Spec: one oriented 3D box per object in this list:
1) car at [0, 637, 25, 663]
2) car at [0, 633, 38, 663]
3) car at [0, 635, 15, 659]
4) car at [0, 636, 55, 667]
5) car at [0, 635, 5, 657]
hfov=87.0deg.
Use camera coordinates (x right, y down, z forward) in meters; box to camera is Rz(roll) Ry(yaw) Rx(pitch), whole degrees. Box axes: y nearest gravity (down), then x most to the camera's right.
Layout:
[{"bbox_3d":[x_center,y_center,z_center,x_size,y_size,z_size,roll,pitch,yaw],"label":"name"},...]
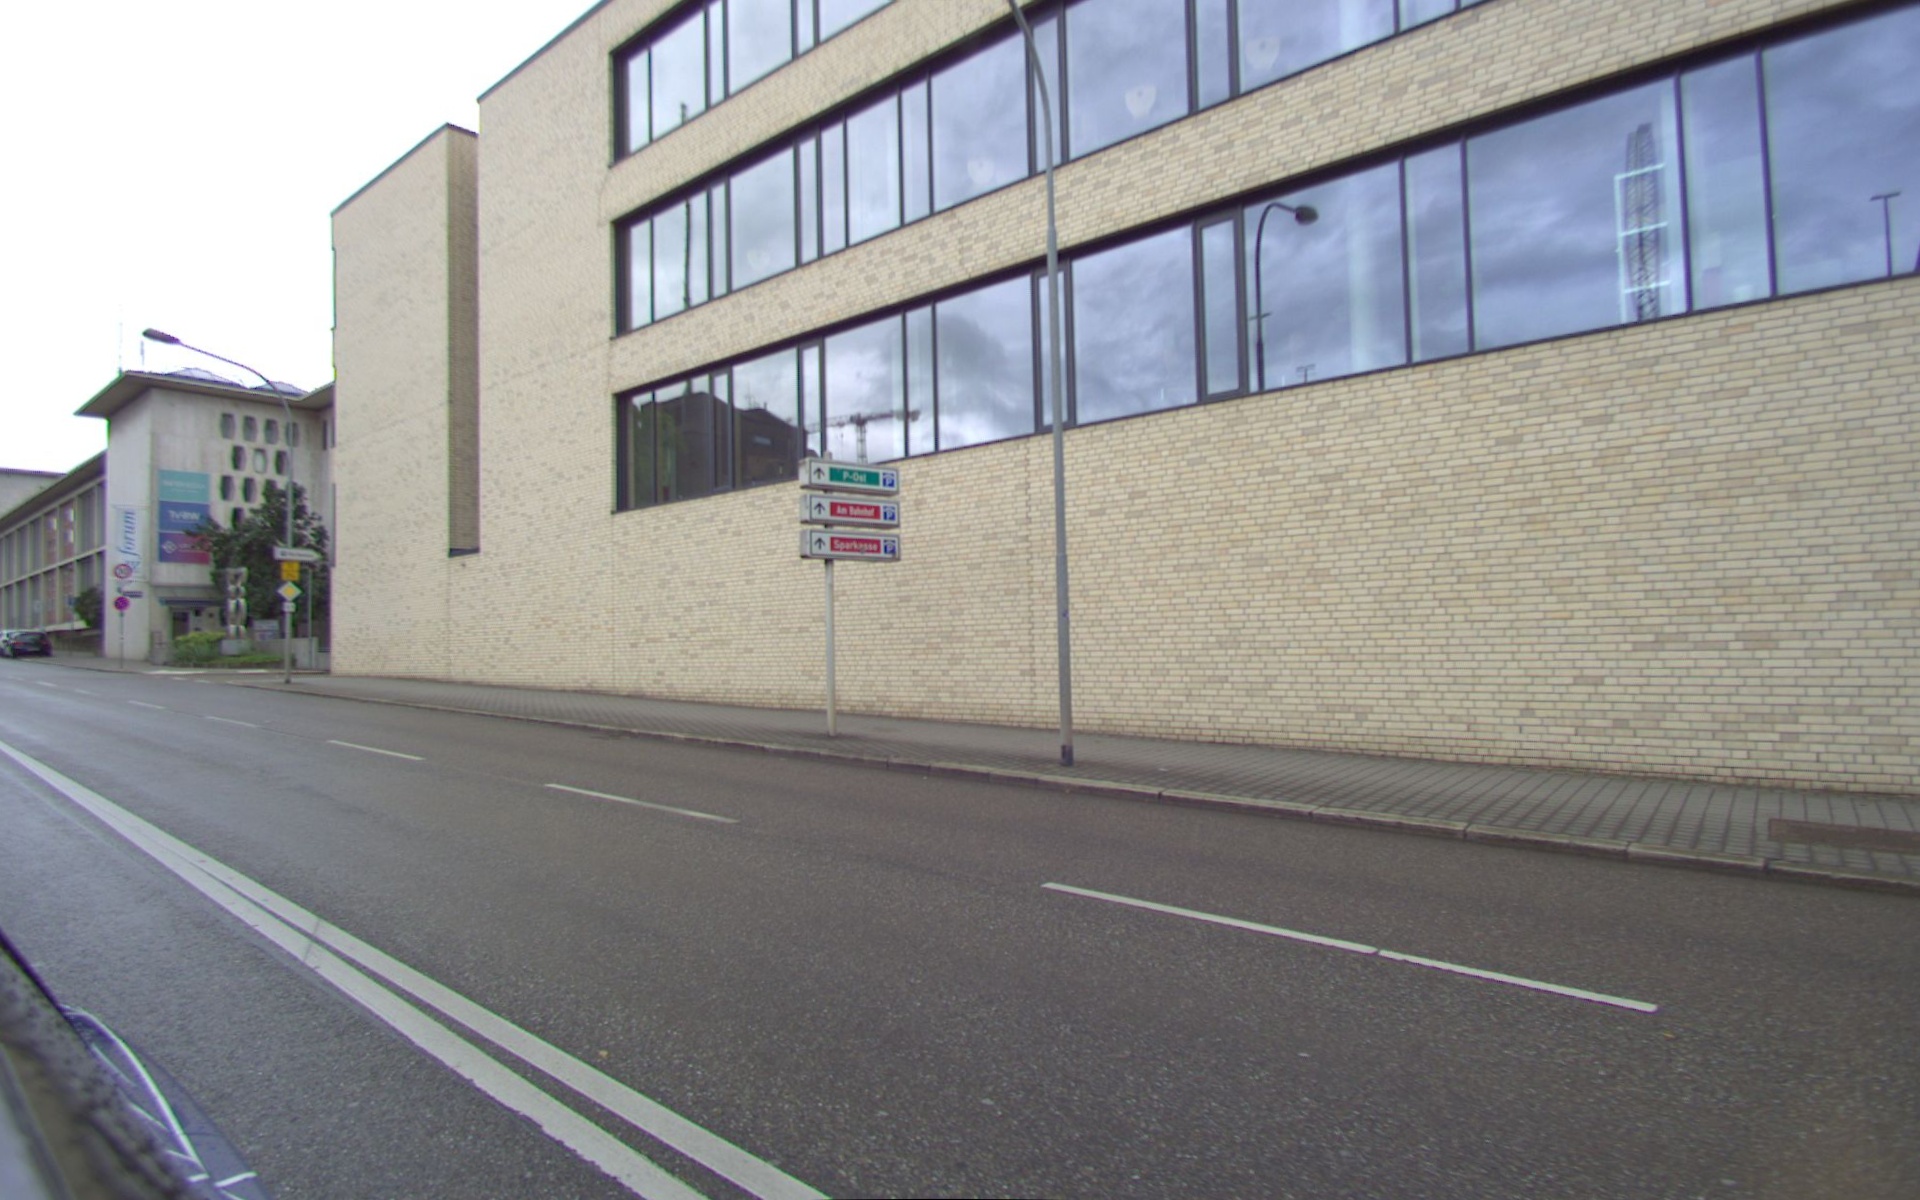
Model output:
[{"bbox_3d":[-61.146,3.172,64.405,3.999,1.523,1.973,-1,0,42],"label":"car"},{"bbox_3d":[-57.000,2.847,60.755,3.997,1.654,1.973,-1,0,40],"label":"car"},{"bbox_3d":[-64.663,3.135,67.466,4.183,1.502,1.973,-1,0,41],"label":"car"},{"bbox_3d":[-52.928,2.886,57.282,3.996,1.541,1.974,-1,0,40],"label":"car"},{"bbox_3d":[-69.453,3.254,71.819,3.996,1.541,1.974,-1,-1,39],"label":"car"}]
